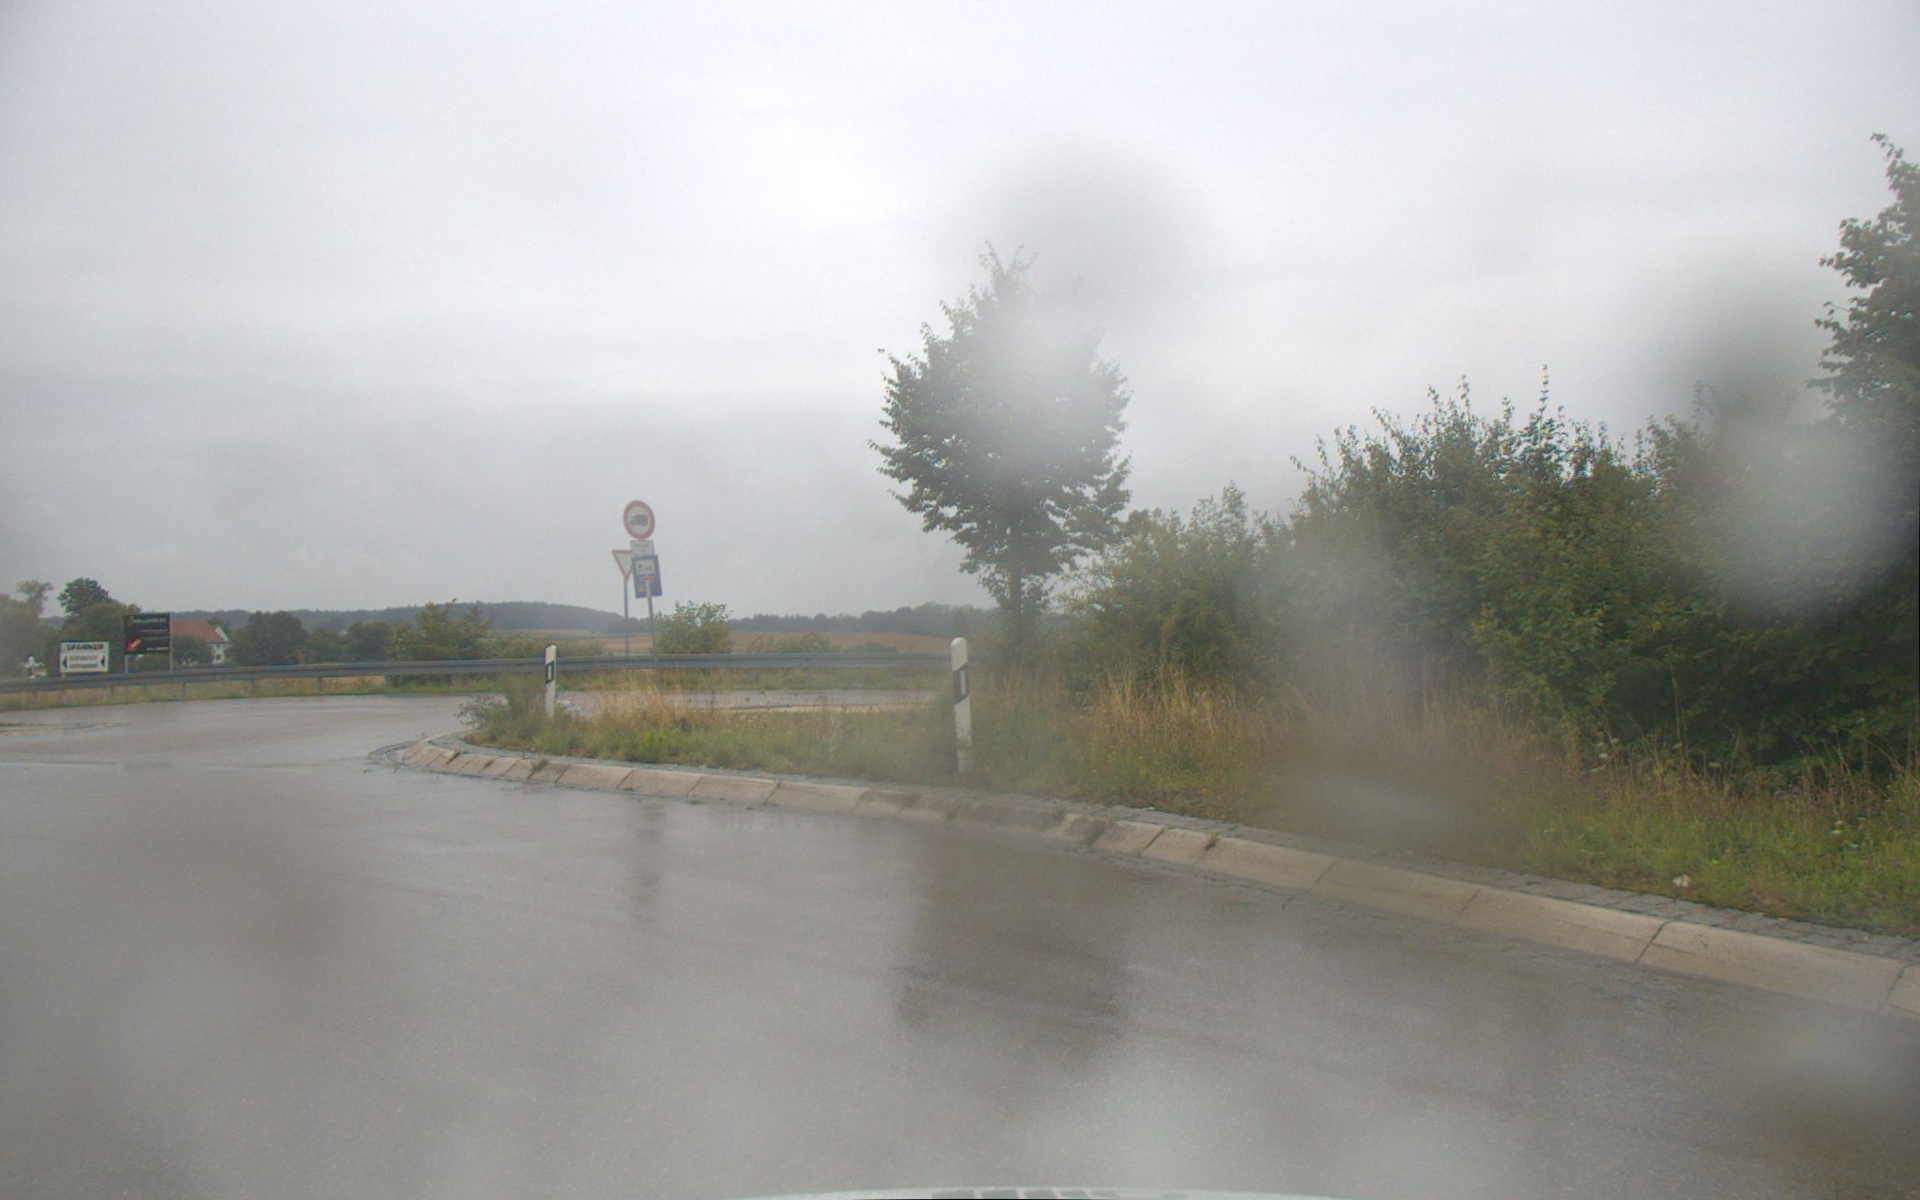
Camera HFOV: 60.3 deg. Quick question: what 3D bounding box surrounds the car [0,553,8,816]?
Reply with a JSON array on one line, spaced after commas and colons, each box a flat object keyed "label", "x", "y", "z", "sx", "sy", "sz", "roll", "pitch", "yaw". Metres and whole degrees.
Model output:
[{"label": "car", "x": -9.538, "y": 0.647, "z": 12.072, "sx": 4.862, "sy": 1.903, "sz": 1.999, "roll": -1, "pitch": 0, "yaw": 24}]
